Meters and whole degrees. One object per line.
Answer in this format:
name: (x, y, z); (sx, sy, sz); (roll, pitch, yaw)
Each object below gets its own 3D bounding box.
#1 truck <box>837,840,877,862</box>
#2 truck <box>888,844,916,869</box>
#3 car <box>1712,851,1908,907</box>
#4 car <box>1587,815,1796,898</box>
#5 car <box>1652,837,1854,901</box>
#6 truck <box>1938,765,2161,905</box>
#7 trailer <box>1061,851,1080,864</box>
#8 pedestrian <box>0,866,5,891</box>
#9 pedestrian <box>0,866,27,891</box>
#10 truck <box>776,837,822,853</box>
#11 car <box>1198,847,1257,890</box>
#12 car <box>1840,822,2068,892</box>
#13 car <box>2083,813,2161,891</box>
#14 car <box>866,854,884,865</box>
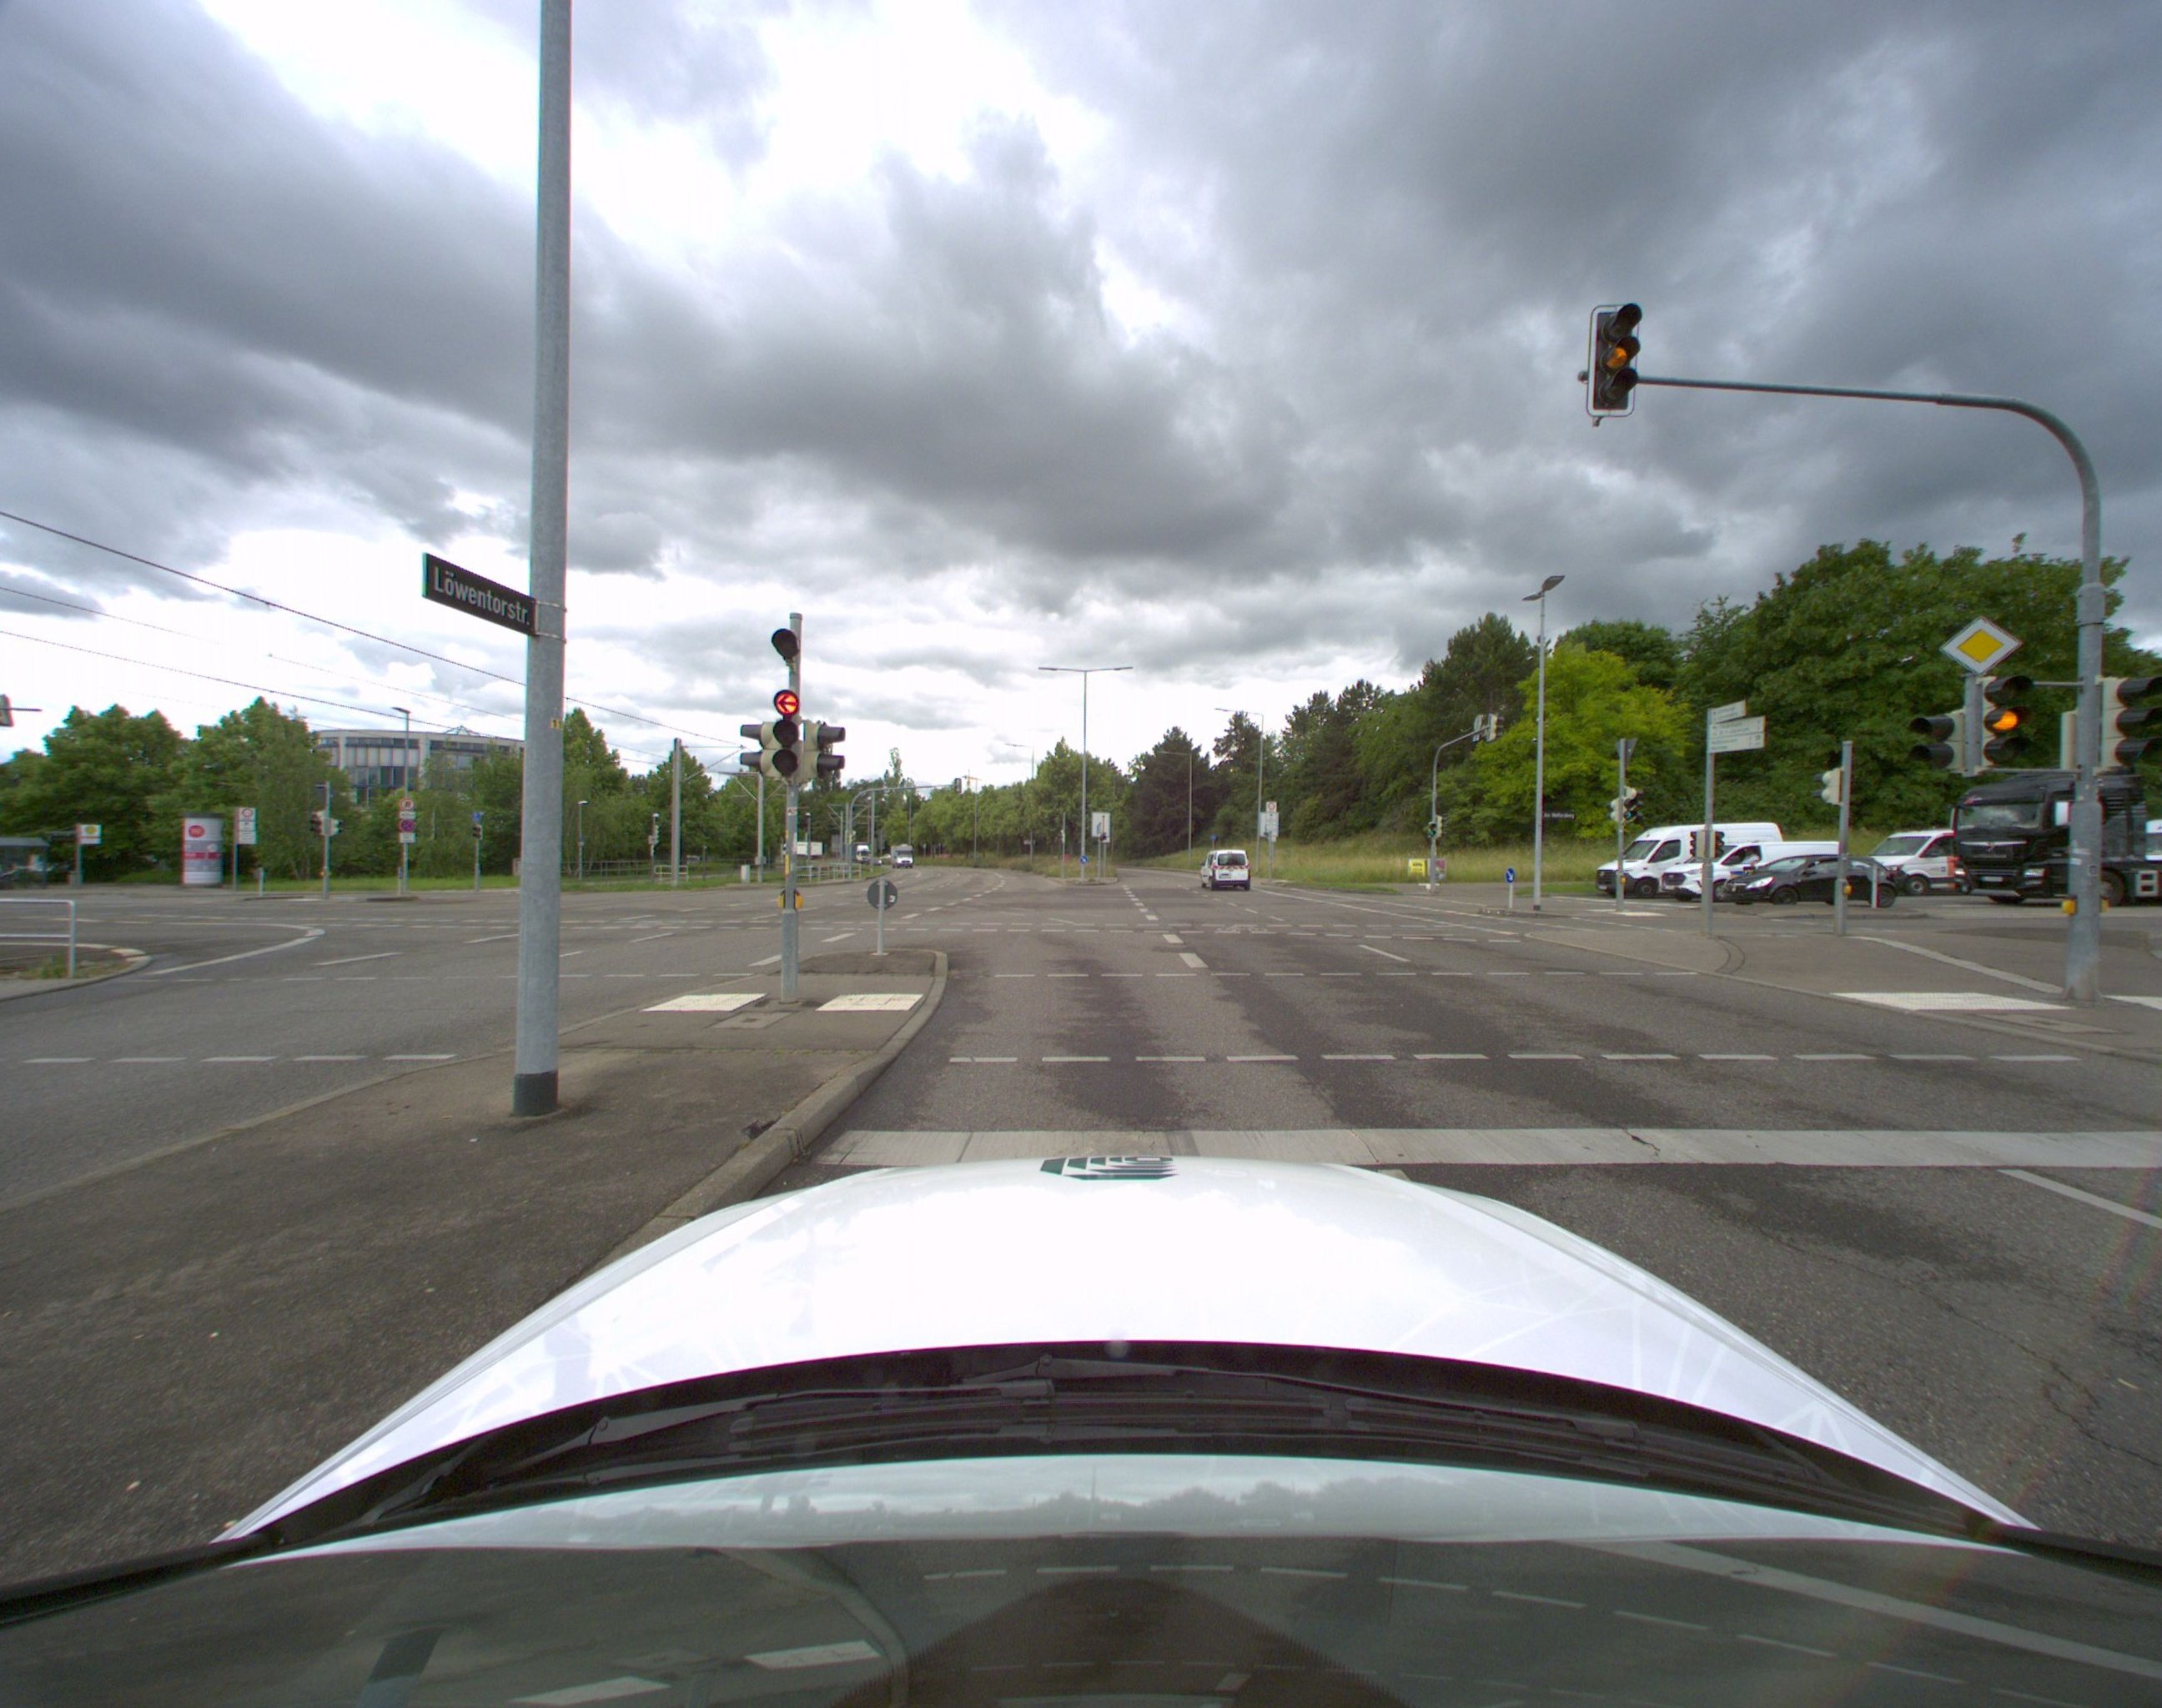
truck: (-40.059, -0.465, 145.039); (3.070, 3.760, 12.679); (0, -1, -33)
truck: (-23.288, 0.386, 105.647); (2.127, 3.135, 5.847); (0, -1, -27)
car: (20.278, 0.669, 22.774); (3.905, 1.436, 1.732); (-1, 0, 1)
car: (21.896, 0.095, 29.411); (5.870, 2.781, 2.136); (-1, 0, 2)
car: (21.590, 0.458, 26.331); (4.836, 1.896, 2.034); (-1, 0, 1)
truck: (27.933, -0.515, 22.271); (6.027, 3.538, 2.729); (-1, 0, 2)
trailer: (-1.339, 0.450, 105.345); (1.768, 1.616, 3.028); (-1, 0, -15)
pedestrian: (-57.827, 1.298, 43.172); (0.774, 1.303, 0.666); (0, 0, 15)
pedestrian: (-56.389, 1.271, 42.977); (0.774, 1.304, 0.666); (0, 0, 15)
truck: (-60.161, -1.855, 173.636); (11.260, 3.328, 2.766); (0, 0, 31)
car: (6.627, 0.658, 37.325); (1.986, 1.802, 4.842); (-1, -1, 3)
car: (30.681, 0.110, 28.765); (5.677, 2.289, 2.136); (-1, 0, 2)
car: (39.722, -0.129, 28.490); (6.473, 2.609, 2.197); (-1, 0, 2)
car: (-31.864, 0.831, 125.924); (1.791, 1.446, 4.487); (-2, 2, -28)
